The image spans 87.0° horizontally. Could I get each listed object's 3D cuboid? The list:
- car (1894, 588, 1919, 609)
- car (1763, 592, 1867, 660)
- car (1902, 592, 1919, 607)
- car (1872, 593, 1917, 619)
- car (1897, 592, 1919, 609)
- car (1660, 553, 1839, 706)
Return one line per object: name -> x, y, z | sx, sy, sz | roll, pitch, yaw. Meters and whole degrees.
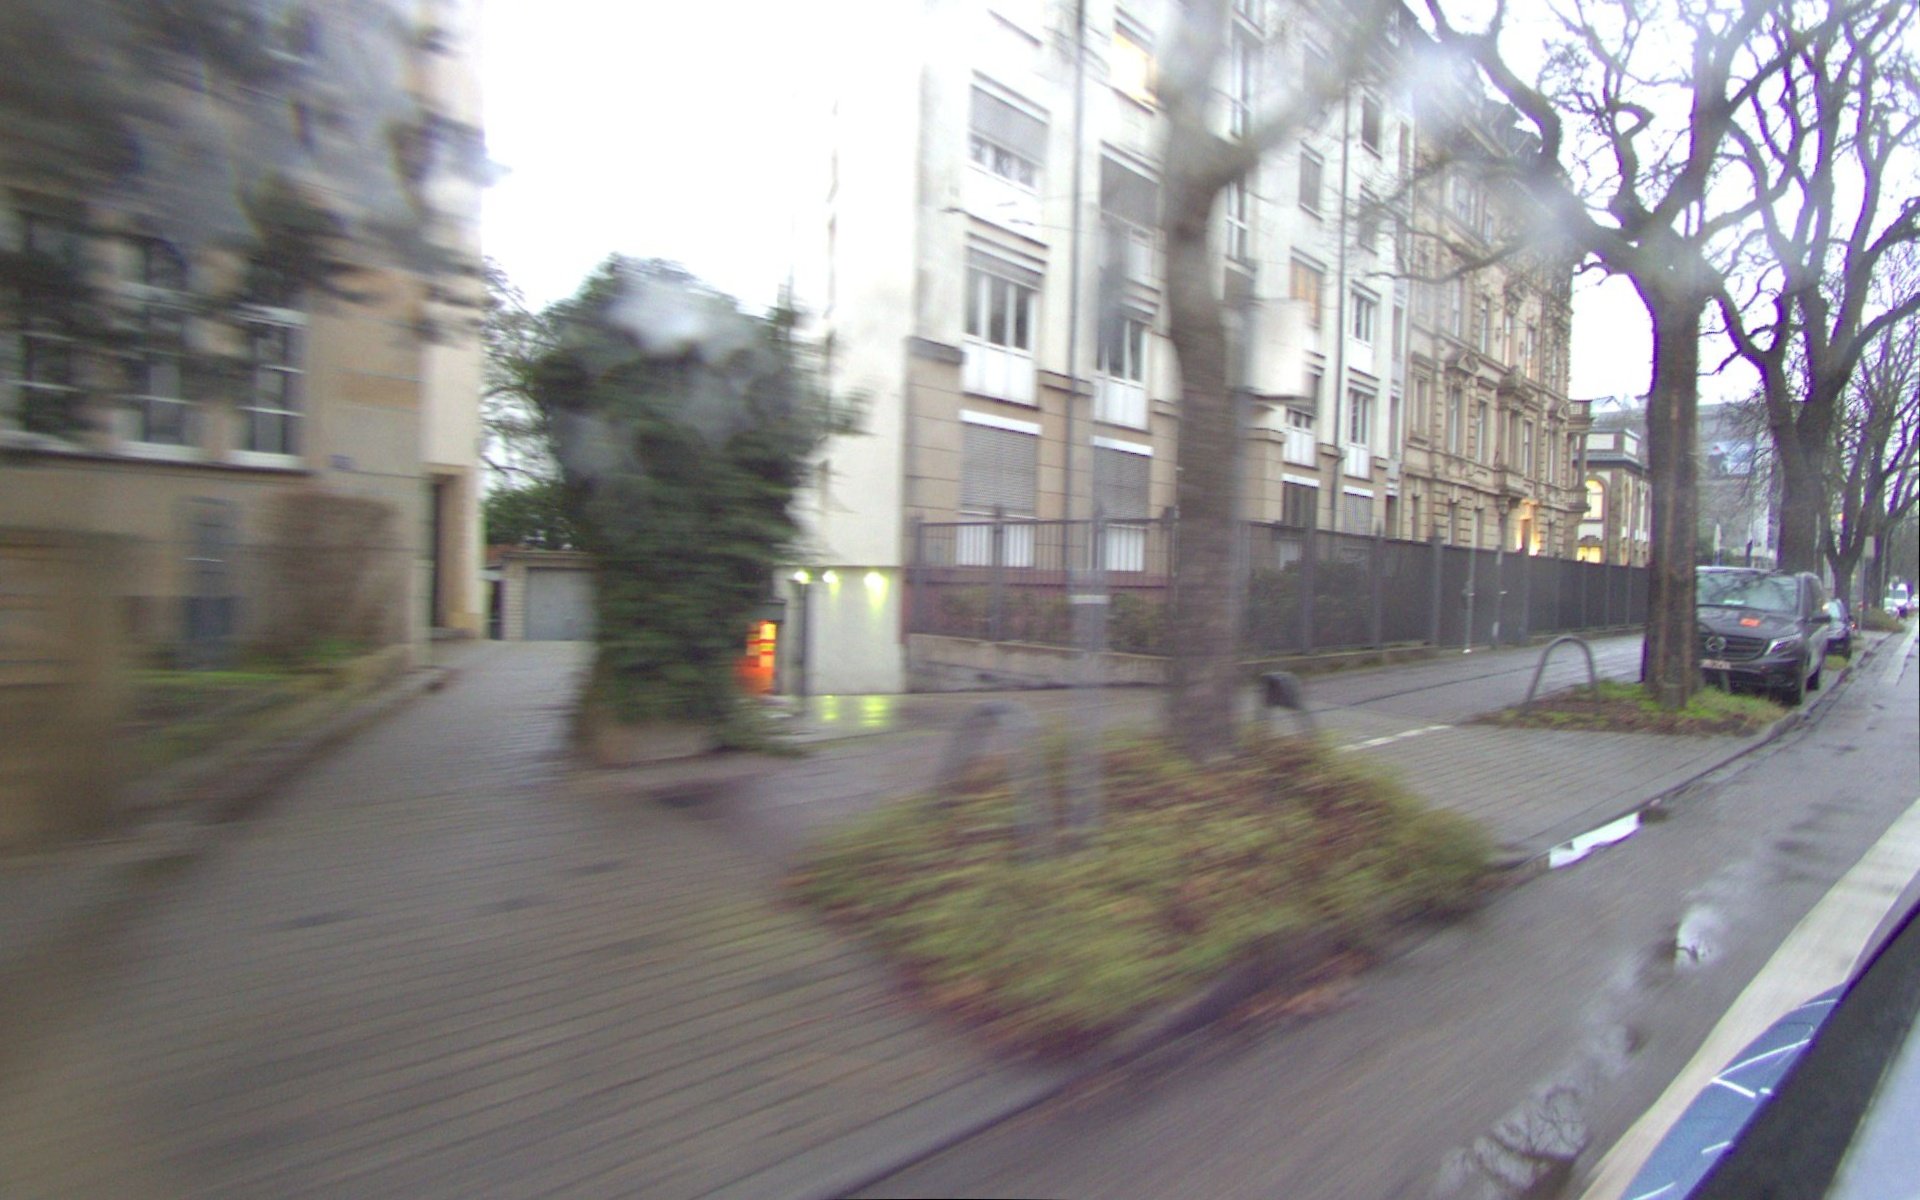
car -> 66.530, -0.108, 70.700 | 1.720, 1.431, 3.786 | -1, 0, 41
car -> 19.869, 0.556, 23.519 | 1.720, 1.431, 3.786 | -1, 0, 41
car -> 91.160, -0.051, 96.548 | 1.720, 1.431, 3.786 | -1, 0, 41
car -> 52.993, 0.338, 57.419 | 1.720, 1.431, 3.786 | -1, 0, 41
car -> 81.918, 0.064, 87.074 | 1.720, 1.431, 3.786 | -1, 0, 41
car -> 11.968, 0.372, 15.226 | 1.721, 1.970, 4.439 | -1, -1, 43
